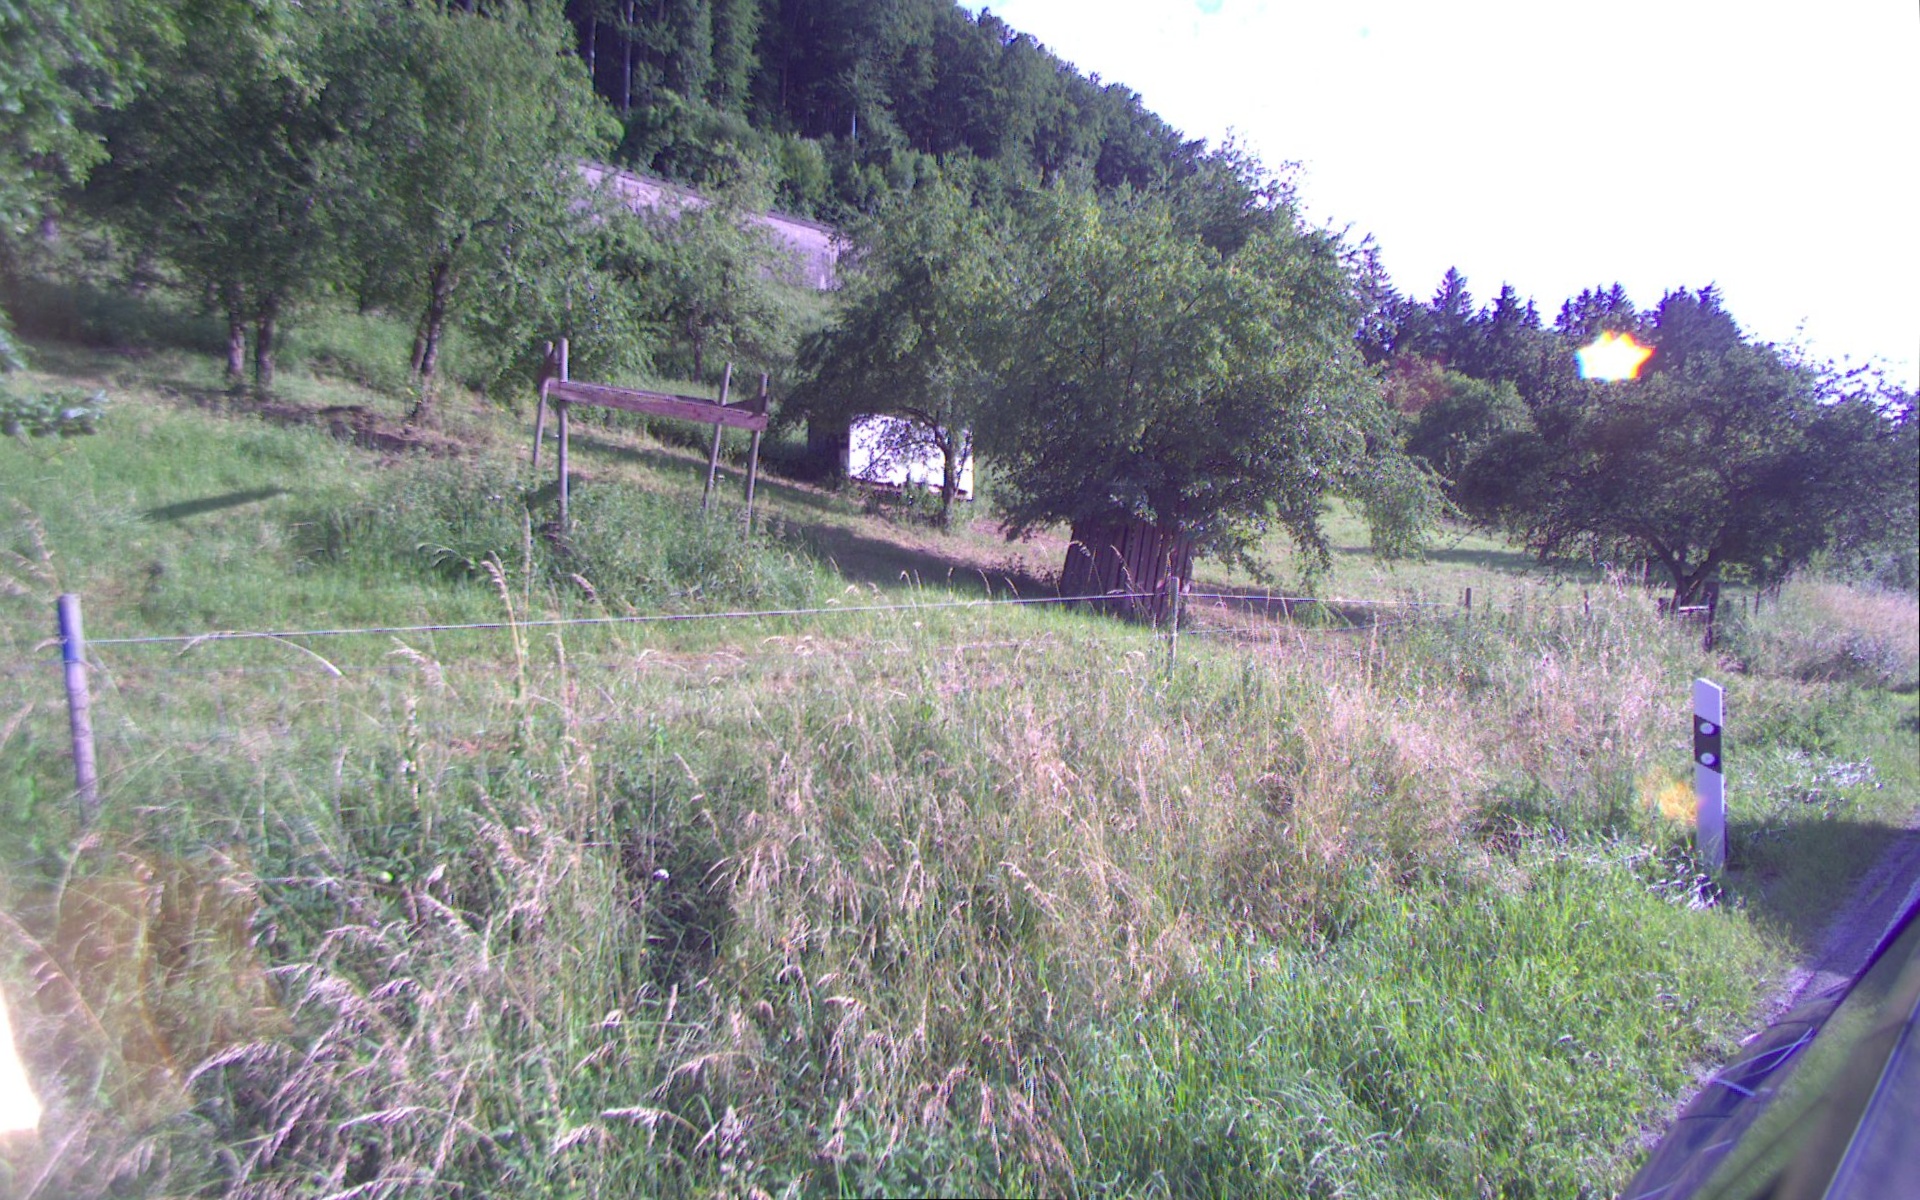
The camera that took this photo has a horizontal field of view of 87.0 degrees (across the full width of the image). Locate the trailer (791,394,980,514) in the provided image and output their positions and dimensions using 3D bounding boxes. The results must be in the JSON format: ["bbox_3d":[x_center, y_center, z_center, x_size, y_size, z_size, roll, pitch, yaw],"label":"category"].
[{"bbox_3d":[-2.047,-4.053,29.173,5.160,2.590,2.154,4,0,-45],"label":"trailer"}]
